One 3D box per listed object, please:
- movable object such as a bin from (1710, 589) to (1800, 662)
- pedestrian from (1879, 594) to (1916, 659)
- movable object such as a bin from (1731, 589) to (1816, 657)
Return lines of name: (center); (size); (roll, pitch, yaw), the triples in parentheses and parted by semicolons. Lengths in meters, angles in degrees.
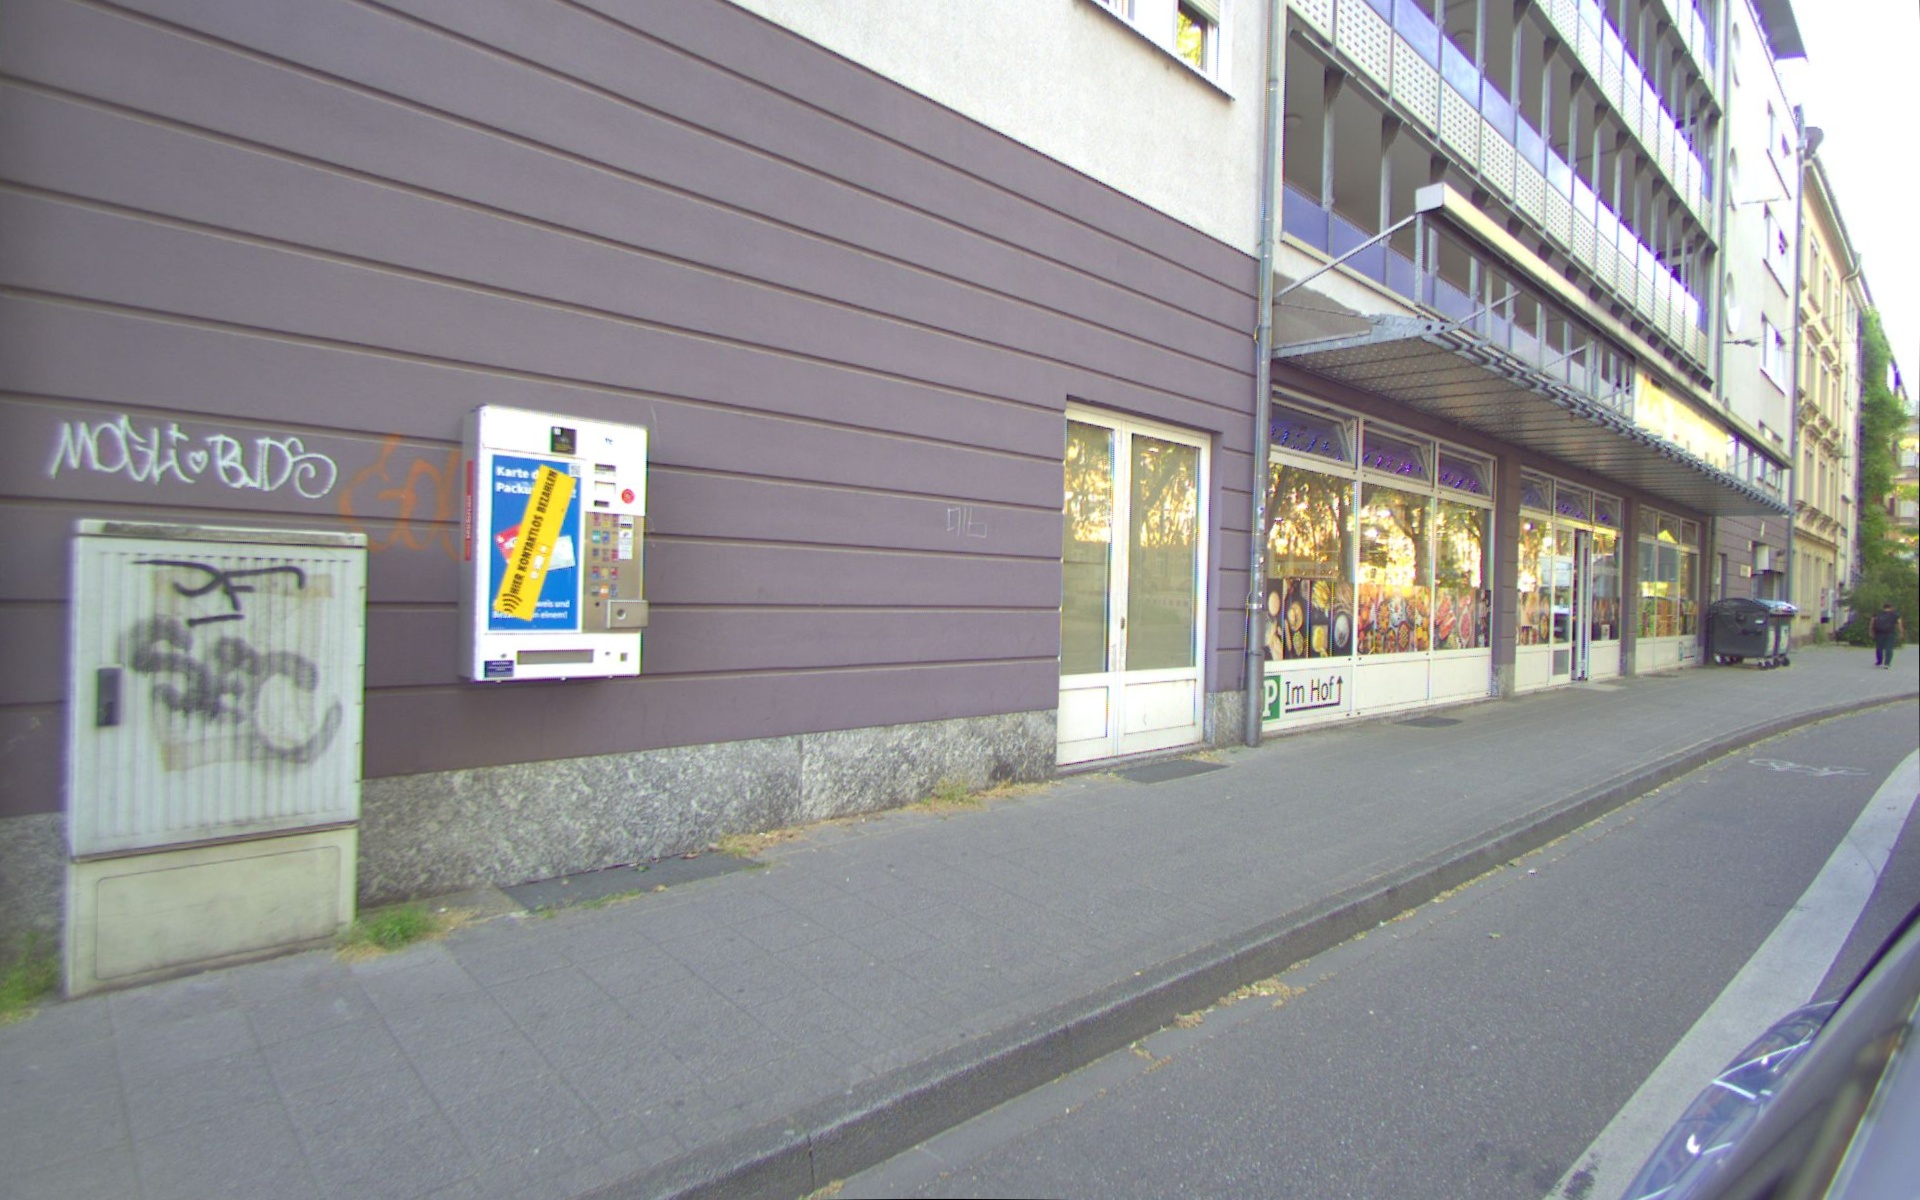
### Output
movable object such as a bin: (16.432, 0.505, 20.918); (1.348, 1.427, 1.203); (1, 1, -41)
pedestrian: (21.810, 0.609, 23.532); (0.619, 1.463, 0.540); (1, 1, -41)
movable object such as a bin: (17.881, 0.485, 22.247); (1.348, 1.427, 1.203); (1, 1, -41)
